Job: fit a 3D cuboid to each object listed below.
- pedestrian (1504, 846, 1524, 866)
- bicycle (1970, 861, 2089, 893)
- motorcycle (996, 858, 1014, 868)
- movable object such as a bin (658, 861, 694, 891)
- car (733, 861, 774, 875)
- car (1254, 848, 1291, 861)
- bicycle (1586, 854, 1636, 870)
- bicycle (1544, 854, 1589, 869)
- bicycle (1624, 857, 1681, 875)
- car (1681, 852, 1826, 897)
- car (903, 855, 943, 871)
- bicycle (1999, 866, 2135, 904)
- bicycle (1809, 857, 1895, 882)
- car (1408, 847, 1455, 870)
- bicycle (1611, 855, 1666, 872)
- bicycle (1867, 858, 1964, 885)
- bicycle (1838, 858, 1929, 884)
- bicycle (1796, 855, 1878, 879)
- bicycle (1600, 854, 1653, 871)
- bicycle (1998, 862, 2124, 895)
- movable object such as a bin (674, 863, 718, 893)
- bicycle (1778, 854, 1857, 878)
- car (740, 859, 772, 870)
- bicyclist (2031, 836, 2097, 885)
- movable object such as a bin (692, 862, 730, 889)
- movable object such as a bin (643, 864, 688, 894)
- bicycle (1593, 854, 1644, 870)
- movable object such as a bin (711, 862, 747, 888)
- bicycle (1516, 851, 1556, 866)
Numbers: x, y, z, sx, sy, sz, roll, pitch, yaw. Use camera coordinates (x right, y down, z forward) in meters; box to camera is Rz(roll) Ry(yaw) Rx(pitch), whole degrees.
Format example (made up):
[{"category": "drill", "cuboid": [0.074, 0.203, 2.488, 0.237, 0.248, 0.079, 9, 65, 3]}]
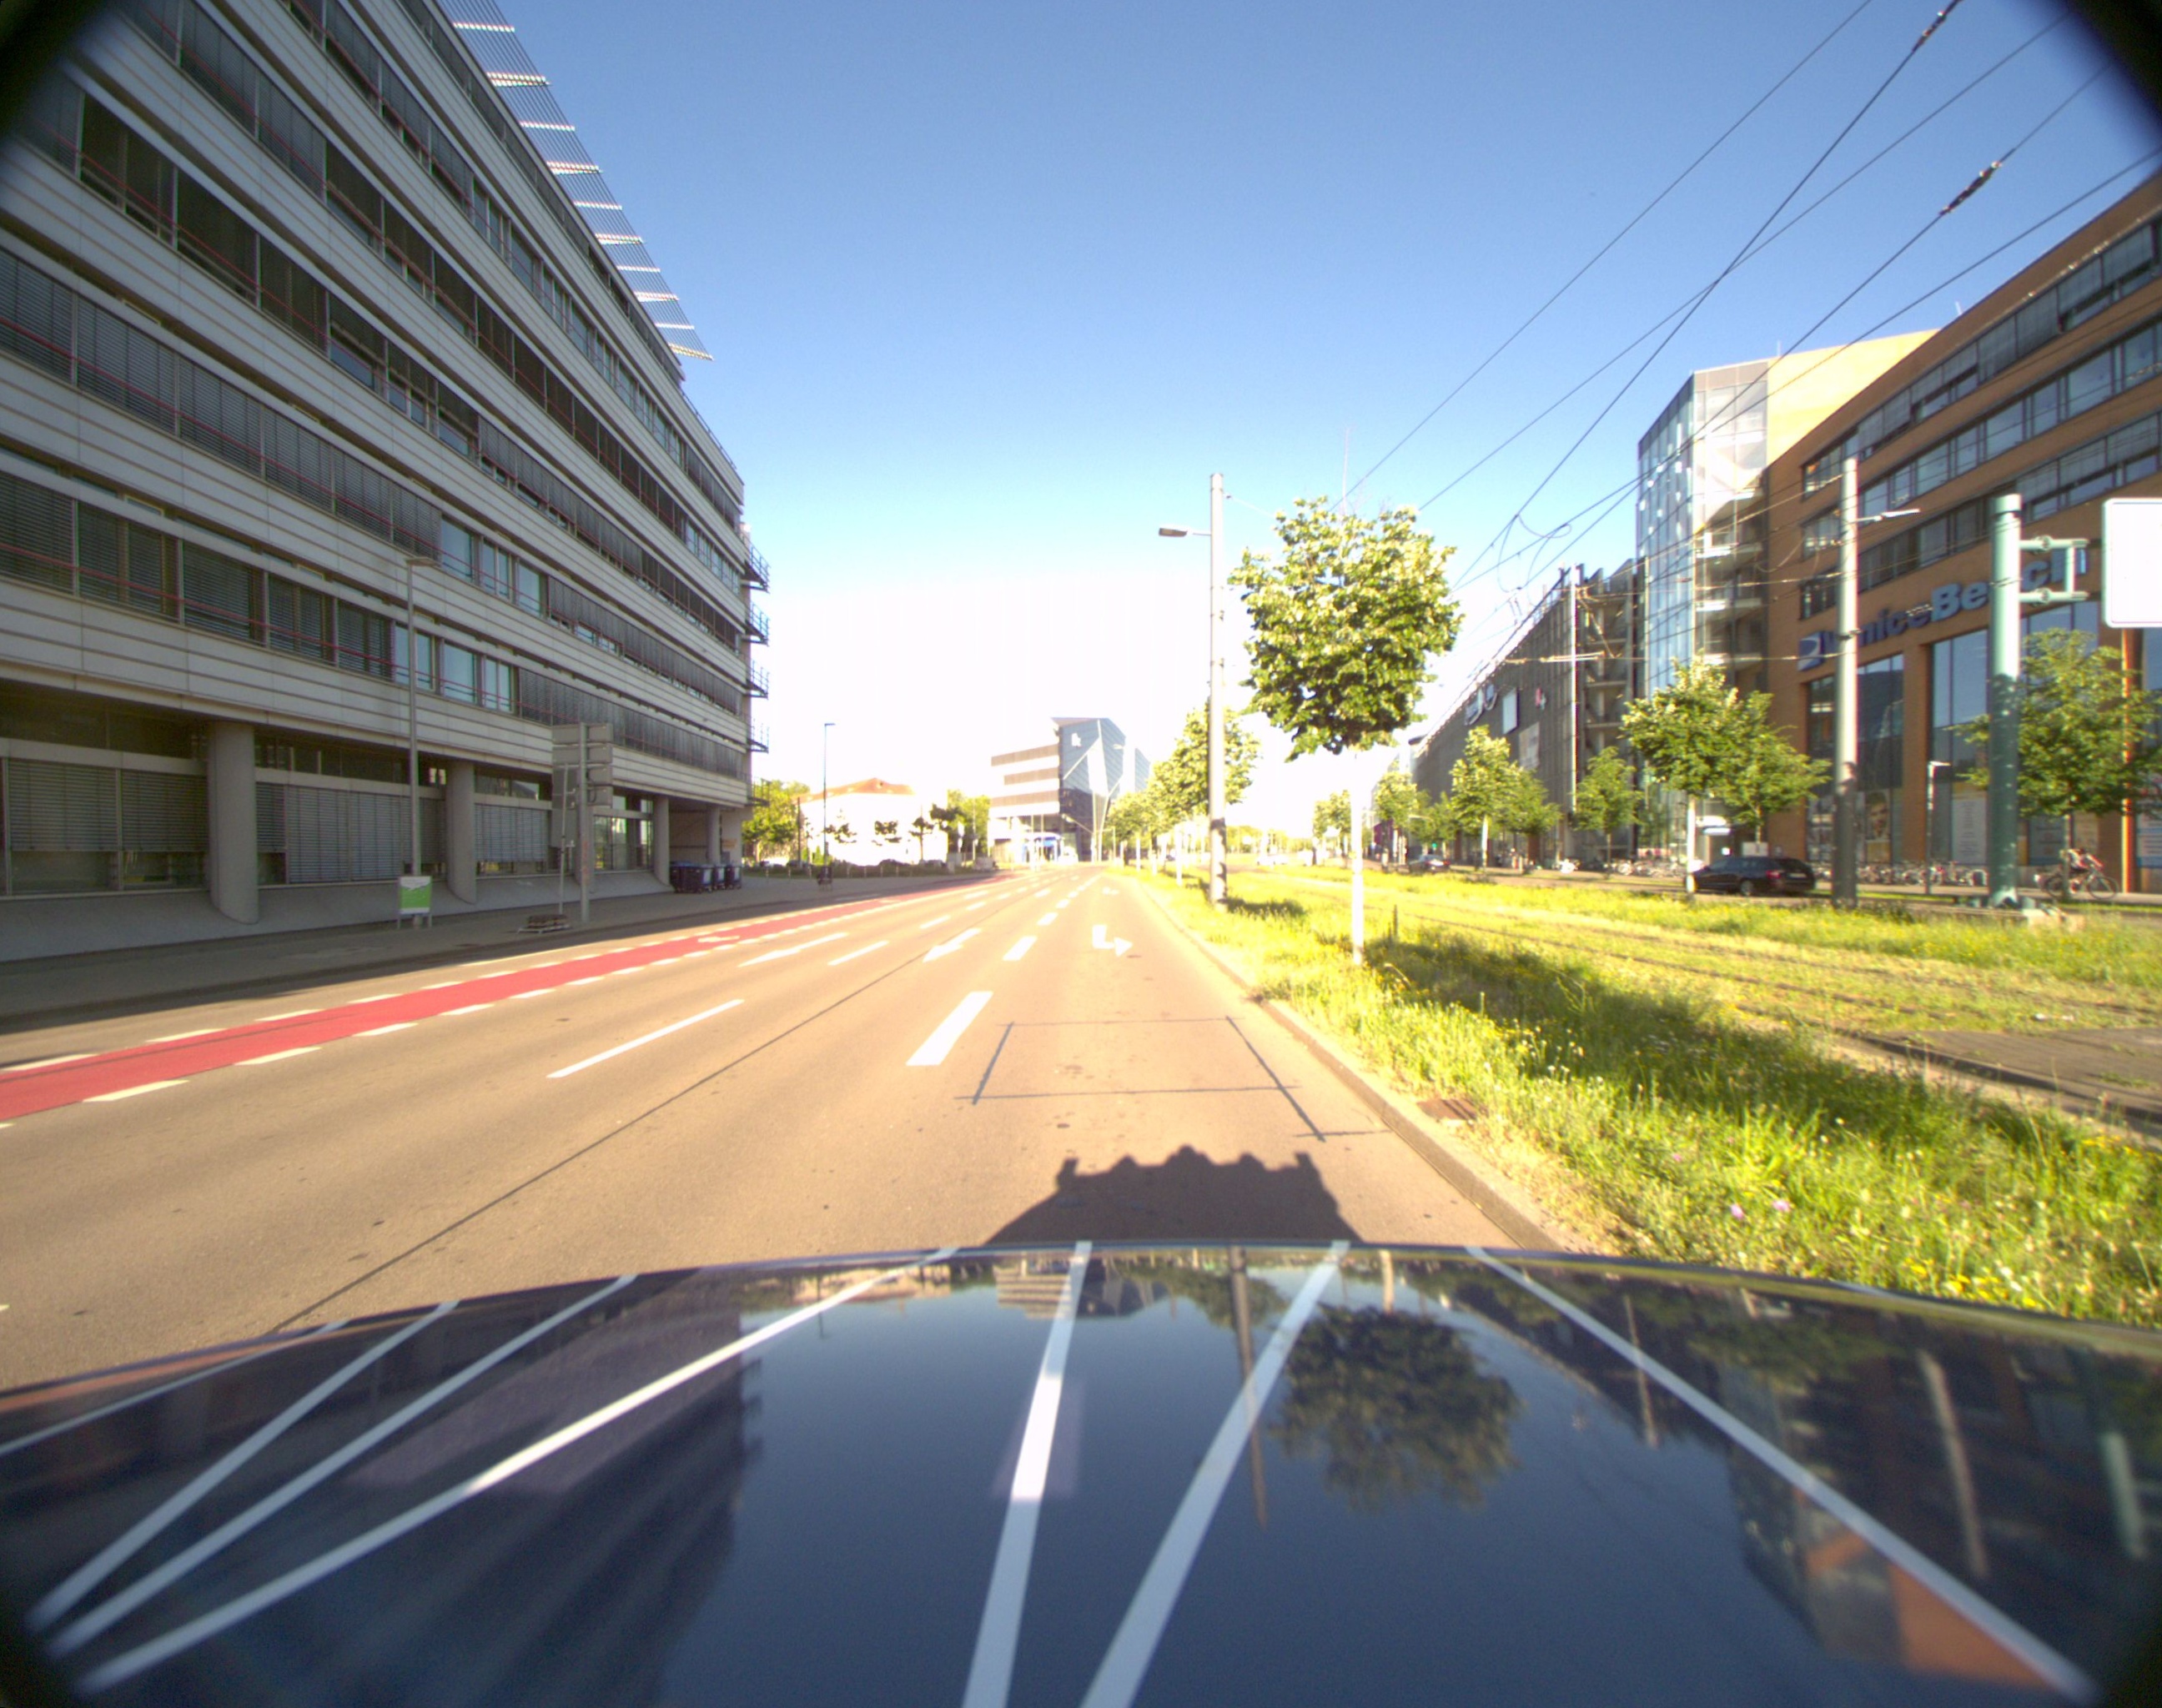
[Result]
[{"category": "pedestrian", "cuboid": [37.519, 0.187, 65.806, 1.072, 1.671, 1.095, -1, 1, -6]}, {"category": "bicycle", "cuboid": [33.497, 0.823, 26.885, 2.687, 1.097, 0.897, 0, 0, 11]}, {"category": "motorcycle", "cuboid": [-9.741, 1.155, 97.546, 2.256, 1.214, 0.821, 0, 1, -12]}, {"category": "movable object such as a bin", "cuboid": [-19.080, 1.010, 35.822, 1.109, 1.366, 1.108, -1, 1, 1]}, {"category": "car", "cuboid": [-36.471, 1.540, 84.622, 3.794, 1.523, 1.742, 0, 1, 13]}, {"category": "car", "cuboid": [23.067, 0.105, 91.579, 1.681, 1.519, 4.344, 0, 0, -31]}, {"category": "bicycle", "cuboid": [36.329, 0.537, 52.140, 2.687, 1.097, 0.897, 0, 0, 11]}, {"category": "bicycle", "cuboid": [36.863, 0.570, 57.730, 2.687, 1.097, 0.897, 0, 0, 11]}, {"category": "bicycle", "cuboid": [35.067, 0.718, 46.686, 2.687, 1.097, 0.897, 0, 0, 11]}, {"category": "car", "cuboid": [24.920, 0.705, 28.385, 1.626, 1.519, 4.355, 0, 0, 1]}, {"category": "car", "cuboid": [-15.404, 0.859, 73.990, 3.790, 1.523, 1.744, 0, 1, 37]}, {"category": "bicycle", "cuboid": [31.254, 0.954, 24.175, 0.895, 1.097, 2.692, 0, 0, 1]}, {"category": "bicycle", "cuboid": [34.916, 0.689, 34.436, 2.687, 1.097, 0.897, 0, 0, 11]}, {"category": "car", "cuboid": [24.711, 0.310, 53.755, 1.625, 1.519, 4.357, 0, 0, 4]}, {"category": "bicycle", "cuboid": [35.604, 0.599, 48.558, 2.687, 1.097, 0.897, 0, 0, 11]}, {"category": "bicycle", "cuboid": [34.512, 0.738, 31.460, 2.687, 1.097, 0.897, 0, 0, 11]}, {"category": "bicycle", "cuboid": [34.585, 0.720, 32.798, 2.687, 1.097, 0.897, 0, 0, 11]}, {"category": "bicycle", "cuboid": [35.430, 0.604, 35.661, 2.687, 1.097, 0.897, 0, 0, 11]}, {"category": "bicycle", "cuboid": [36.051, 0.563, 50.255, 2.687, 1.097, 0.897, 0, 0, 11]}, {"category": "bicycle", "cuboid": [33.298, 0.817, 25.857, 2.687, 1.097, 0.897, 0, 0, 11]}, {"category": "movable object such as a bin", "cuboid": [-17.146, 1.048, 33.902, 1.328, 1.294, 1.174, -1, 1, 1]}, {"category": "bicycle", "cuboid": [35.670, 0.585, 36.821, 2.687, 1.097, 0.897, 0, 0, 11]}, {"category": "car", "cuboid": [-44.793, 1.432, 104.744, 3.804, 1.523, 1.737, -1, 1, -17]}, {"category": "bicyclist", "cuboid": [31.245, 0.207, 24.171, 0.895, 1.539, 0.939, 0, 0, 1]}, {"category": "movable object such as a bin", "cuboid": [-18.012, 1.039, 37.040, 1.173, 1.293, 1.329, -1, 1, 1]}, {"category": "movable object such as a bin", "cuboid": [-18.510, 1.098, 33.892, 1.328, 1.294, 1.174, -1, 1, 1]}, {"category": "bicycle", "cuboid": [36.209, 0.547, 51.230, 2.687, 1.097, 0.826, 0, 0, 11]}, {"category": "movable object such as a bin", "cuboid": [-17.764, 1.044, 38.382, 1.173, 1.293, 1.329, -1, 1, 1]}, {"category": "bicycle", "cuboid": [37.931, 0.397, 63.347, 2.687, 1.182, 0.897, 0, 0, 11]}]
